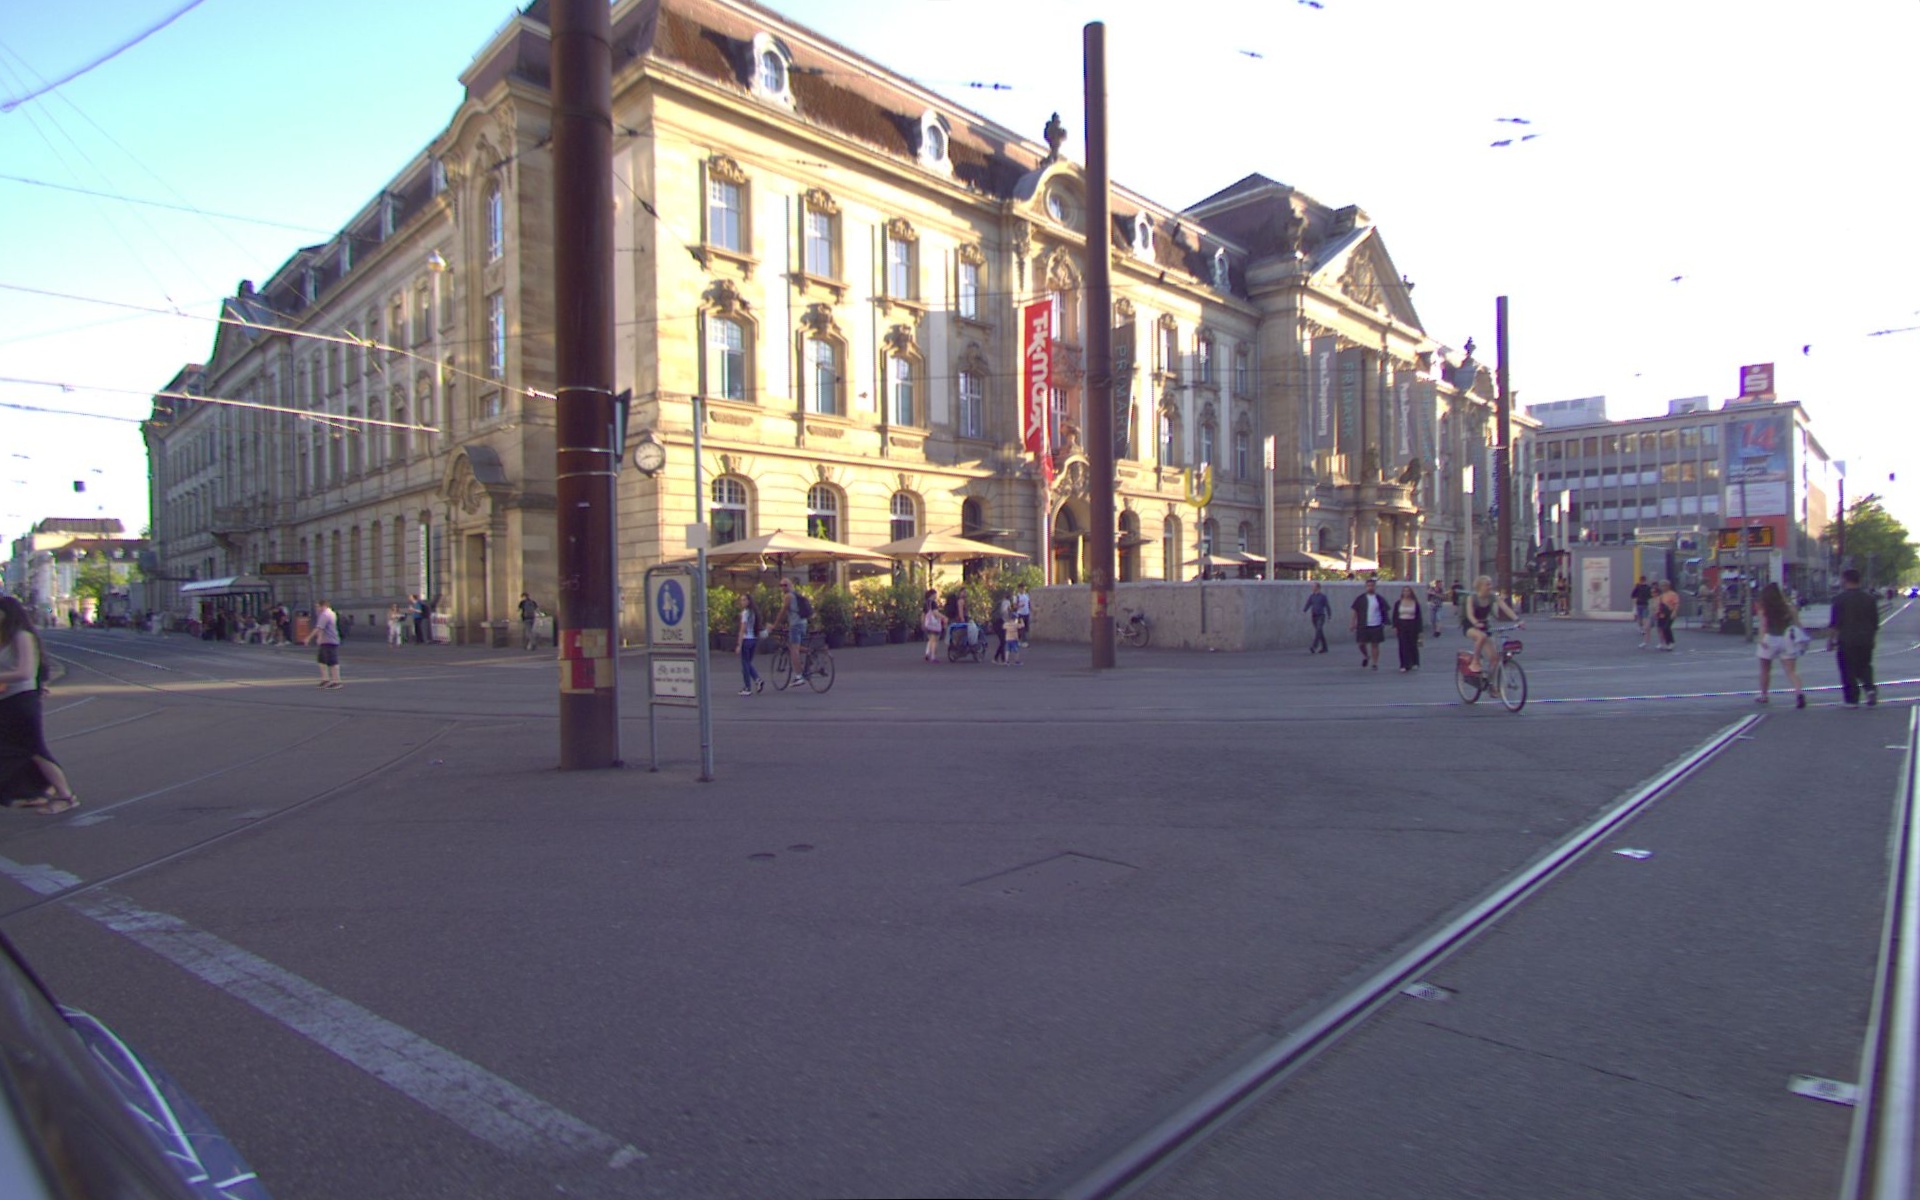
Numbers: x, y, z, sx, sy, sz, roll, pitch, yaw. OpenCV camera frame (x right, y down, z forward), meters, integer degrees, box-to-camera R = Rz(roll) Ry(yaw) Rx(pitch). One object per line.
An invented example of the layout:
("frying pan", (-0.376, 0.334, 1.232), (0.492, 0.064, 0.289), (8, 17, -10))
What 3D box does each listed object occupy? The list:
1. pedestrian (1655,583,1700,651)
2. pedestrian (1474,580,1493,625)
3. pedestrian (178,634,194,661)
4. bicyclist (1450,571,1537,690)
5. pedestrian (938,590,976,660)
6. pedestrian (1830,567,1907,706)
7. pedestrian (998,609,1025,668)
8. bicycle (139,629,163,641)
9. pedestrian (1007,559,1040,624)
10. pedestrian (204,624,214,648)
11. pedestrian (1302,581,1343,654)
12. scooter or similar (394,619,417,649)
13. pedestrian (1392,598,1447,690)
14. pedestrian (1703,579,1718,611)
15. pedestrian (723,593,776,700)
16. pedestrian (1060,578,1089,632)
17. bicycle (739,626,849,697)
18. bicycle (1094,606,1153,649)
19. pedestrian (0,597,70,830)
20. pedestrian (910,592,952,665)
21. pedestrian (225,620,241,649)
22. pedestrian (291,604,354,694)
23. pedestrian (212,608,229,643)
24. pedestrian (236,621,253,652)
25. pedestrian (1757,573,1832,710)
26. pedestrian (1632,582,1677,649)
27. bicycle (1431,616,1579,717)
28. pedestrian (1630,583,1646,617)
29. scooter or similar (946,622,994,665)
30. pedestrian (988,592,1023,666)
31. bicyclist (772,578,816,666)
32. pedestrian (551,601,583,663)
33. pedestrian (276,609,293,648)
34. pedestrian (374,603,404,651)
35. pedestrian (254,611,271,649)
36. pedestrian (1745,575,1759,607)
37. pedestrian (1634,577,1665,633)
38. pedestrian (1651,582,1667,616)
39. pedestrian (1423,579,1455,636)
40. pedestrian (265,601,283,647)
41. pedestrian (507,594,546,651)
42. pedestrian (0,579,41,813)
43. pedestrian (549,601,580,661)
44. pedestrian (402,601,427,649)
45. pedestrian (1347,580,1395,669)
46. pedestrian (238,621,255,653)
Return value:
("pedestrian", (17.592, 0.410, 24.820), (0.674, 1.649, 0.587), (-1, 0, -11))
("pedestrian", (19.186, 0.096, 37.076), (0.504, 1.649, 0.347), (-1, 0, 7))
("pedestrian", (-47.241, 2.906, 61.747), (0.435, 1.617, 0.571), (-2, 1, 7))
("bicyclist", (6.957, 0.376, 13.236), (0.590, 1.476, 0.875), (-2, 1, -4))
("pedestrian", (-0.067, 0.588, 24.161), (0.662, 1.626, 0.767), (-2, 0, 19))
("pedestrian", (11.386, 0.443, 12.688), (0.522, 1.687, 0.651), (-1, -1, -45))
("pedestrian", (1.097, 0.815, 21.641), (0.477, 1.252, 0.412), (-1, 0, -4))
("bicycle", (-68.179, 2.957, 85.282), (1.556, 0.880, 0.451), (-3, 1, -41))
("pedestrian", (1.725, -0.233, 27.398), (0.717, 1.718, 0.494), (-1, 1, 27))
("pedestrian", (-38.122, 1.817, 51.367), (0.360, 1.209, 0.430), (-3, 1, -40))
("pedestrian", (8.623, 0.407, 24.077), (0.706, 1.687, 0.651), (-1, -1, -45))
("scooter or similar", (-22.797, 1.408, 41.608), (0.481, 1.190, 1.294), (-3, 1, -43))
("pedestrian", (8.716, 0.818, 19.192), (0.522, 1.687, 0.755), (-1, -1, -39))
("pedestrian", (31.554, -0.210, 42.558), (0.451, 1.309, 0.424), (-1, 2, 39))
("pedestrian", (-3.428, 0.739, 16.489), (0.640, 1.687, 0.531), (-1, -1, -37))
("pedestrian", (3.697, 0.160, 32.704), (0.720, 1.718, 0.492), (-1, 1, 38))
("bicycle", (-2.808, 1.006, 17.040), (2.019, 1.106, 0.567), (-1, 1, 38))
("bicycle", (4.306, 0.720, 26.719), (0.444, 1.093, 1.582), (-3, 1, -43))
("pedestrian", (-6.821, 0.790, 7.205), (0.444, 1.605, 0.568), (-1, 0, 18))
("pedestrian", (-0.649, 0.642, 23.025), (0.688, 1.626, 0.818), (-2, 0, 19))
("pedestrian", (-34.181, 1.603, 47.568), (0.511, 1.337, 0.639), (-2, 0, -42))
("pedestrian", (-12.159, 0.917, 19.329), (0.790, 1.641, 0.837), (-2, 0, -18))
("pedestrian", (-35.775, 1.214, 48.965), (0.510, 1.663, 0.640), (-1, 0, -23))
("pedestrian", (-31.874, 1.622, 45.090), (0.511, 1.337, 0.639), (-2, 0, -42))
("pedestrian", (10.662, 0.517, 12.933), (0.522, 1.687, 0.651), (-1, -1, -45))
("pedestrian", (17.437, 0.378, 25.419), (0.674, 1.649, 0.587), (-1, 0, -11))
("bicycle", (6.988, 0.810, 13.107), (0.690, 1.124, 1.921), (-2, 1, -6))
("pedestrian", (27.193, -0.005, 40.581), (0.451, 1.309, 0.424), (-1, 2, 39))
("scooter or similar", (0.229, 0.974, 23.035), (0.881, 0.911, 1.093), (-2, 0, 12))
("pedestrian", (0.989, 0.633, 22.108), (0.641, 1.585, 0.481), (-1, 0, -6))
("bicyclist", (-2.781, 0.363, 16.950), (0.563, 1.438, 0.417), (-1, 1, 37))
("pedestrian", (-9.943, 0.797, 25.607), (0.498, 1.537, 0.524), (-2, 0, 18))
("pedestrian", (-28.883, 1.209, 43.281), (0.511, 1.658, 0.639), (-2, 0, -42))
("pedestrian", (-20.196, 0.947, 35.784), (0.631, 1.626, 0.692), (-2, 1, 43))
("pedestrian", (-29.746, 1.281, 43.156), (0.511, 1.581, 0.639), (-2, 0, -42))
("pedestrian", (33.418, -0.365, 42.703), (0.451, 1.330, 0.424), (-1, 2, 39))
("pedestrian", (20.940, 0.149, 30.747), (0.522, 1.687, 0.651), (-1, -1, -45))
("pedestrian", (28.114, -0.043, 40.699), (0.451, 1.309, 0.424), (-1, 2, 39))
("pedestrian", (14.403, 0.215, 30.436), (0.706, 1.687, 0.651), (-1, -1, -45))
("pedestrian", (-27.166, 0.961, 40.071), (0.461, 1.789, 0.563), (-2, 0, -25))
("pedestrian", (-12.785, 0.664, 29.840), (0.972, 1.641, 0.681), (-2, 0, 43))
("pedestrian", (-7.345, 0.709, 7.381), (0.606, 1.713, 0.741), (-1, 0, 21))
("pedestrian", (-10.288, 0.796, 26.329), (0.498, 1.537, 0.516), (-2, 0, 24))
("pedestrian", (-20.840, 0.962, 38.669), (0.706, 1.789, 0.614), (-2, 0, 41))
("pedestrian", (7.998, 0.466, 19.696), (0.522, 1.687, 0.652), (-1, -1, -39))
("pedestrian", (-31.307, 1.612, 44.424), (0.511, 1.337, 0.639), (-2, 0, -42))
